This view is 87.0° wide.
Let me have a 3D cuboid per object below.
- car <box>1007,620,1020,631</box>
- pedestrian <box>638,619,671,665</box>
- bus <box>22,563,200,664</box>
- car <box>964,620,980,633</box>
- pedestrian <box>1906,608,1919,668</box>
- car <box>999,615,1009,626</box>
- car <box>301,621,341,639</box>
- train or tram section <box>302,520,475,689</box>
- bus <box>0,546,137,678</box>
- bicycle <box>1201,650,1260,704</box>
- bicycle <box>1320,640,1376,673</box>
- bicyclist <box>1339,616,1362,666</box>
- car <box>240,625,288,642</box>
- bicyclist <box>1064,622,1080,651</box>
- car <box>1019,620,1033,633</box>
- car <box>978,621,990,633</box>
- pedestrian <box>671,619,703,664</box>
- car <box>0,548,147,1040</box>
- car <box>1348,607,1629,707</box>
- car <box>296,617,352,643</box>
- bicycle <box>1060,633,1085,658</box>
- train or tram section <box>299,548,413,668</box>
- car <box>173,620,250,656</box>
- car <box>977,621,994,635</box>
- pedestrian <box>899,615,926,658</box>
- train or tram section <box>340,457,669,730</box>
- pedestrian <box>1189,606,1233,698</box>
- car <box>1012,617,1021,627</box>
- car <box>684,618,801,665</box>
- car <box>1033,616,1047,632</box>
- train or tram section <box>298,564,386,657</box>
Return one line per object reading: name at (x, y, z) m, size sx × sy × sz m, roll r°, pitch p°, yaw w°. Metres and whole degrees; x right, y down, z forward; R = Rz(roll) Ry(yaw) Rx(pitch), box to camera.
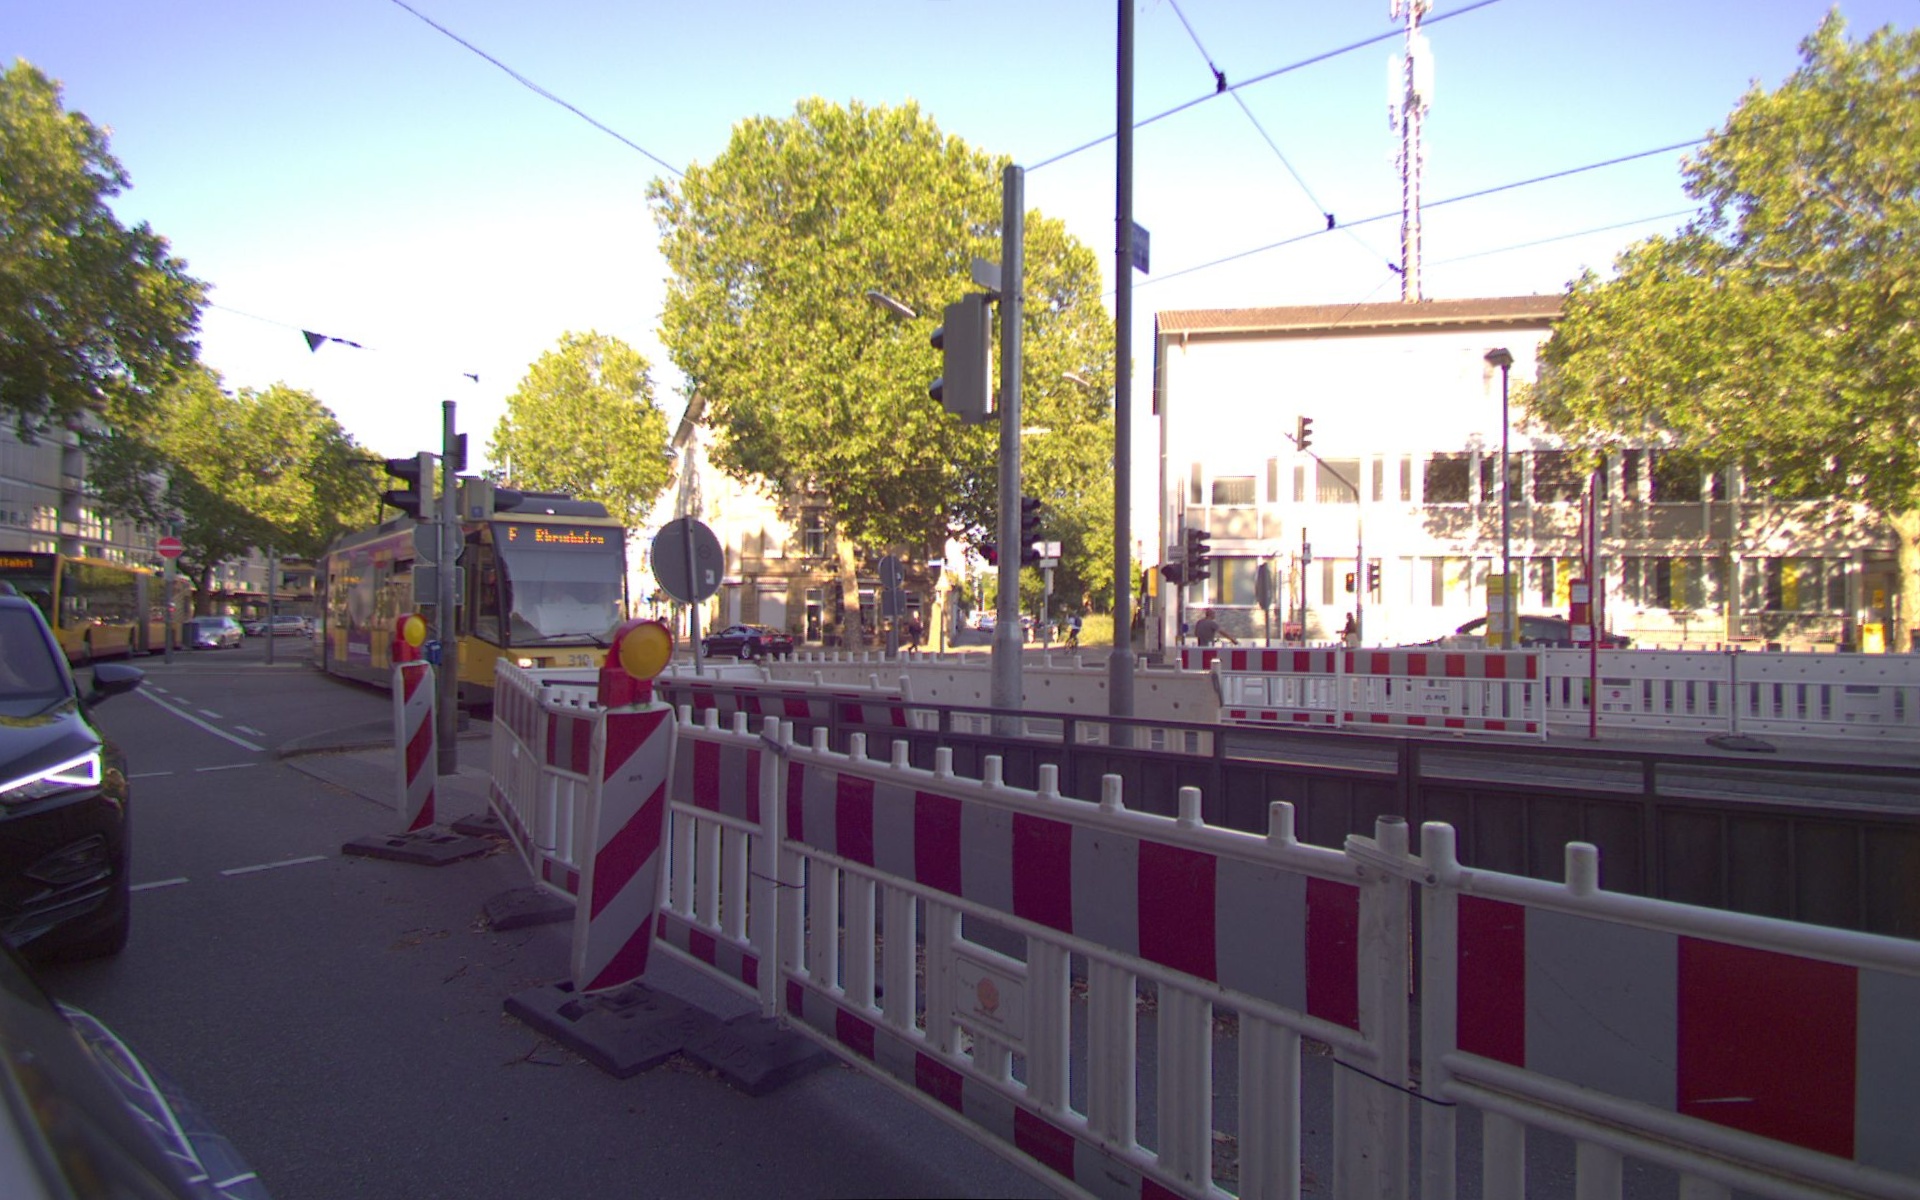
car at (7.088, 3.365, 134.319) m, size 1.705 × 1.505 × 3.994 m, roll 0°, pitch -2°, yaw 4°
pedestrian at (-10.372, 1.418, 34.338) m, size 0.794 × 1.520 × 0.794 m, roll 0°, pitch -1°, yaw 12°
bus at (-29.922, 0.532, 36.198) m, size 2.707 × 3.127 × 9.527 m, roll 1°, pitch -2°, yaw -27°
car at (1.437, 3.130, 119.623) m, size 1.705 × 1.505 × 3.994 m, roll 0°, pitch -1°, yaw 4°
pedestrian at (28.440, 1.101, 29.547) m, size 0.875 × 1.742 × 0.806 m, roll 0°, pitch -1°, yaw 9°
car at (8.516, 3.950, 194.802) m, size 1.828 × 2.031 × 3.994 m, roll 0°, pitch -1°, yaw 4°
car at (-52.321, 2.454, 82.880) m, size 1.201 × 1.484 × 2.592 m, roll 0°, pitch -1°, yaw 43°
train or tram section at (-15.021, 0.175, 26.090) m, size 2.797 × 3.514 × 10.363 m, roll 1°, pitch -1°, yaw -35°
bus at (-25.294, 0.357, 27.888) m, size 2.708 × 3.127 × 9.524 m, roll 1°, pitch -2°, yaw -31°
bicycle at (5.218, 1.458, 19.453) m, size 1.558 × 0.973 × 0.322 m, roll 1°, pitch -2°, yaw -44°
bicycle at (11.225, 1.626, 29.320) m, size 1.466 × 0.902 × 0.456 m, roll -1°, pitch -2°, yaw 45°
bicyclist at (11.294, 1.180, 29.262) m, size 0.465 × 1.407 × 0.456 m, roll -1°, pitch -2°, yaw 44°
car at (-50.888, 2.439, 74.014) m, size 1.198 × 1.226 × 2.599 m, roll 0°, pitch -1°, yaw 34°
bicyclist at (4.557, 1.472, 41.117) m, size 0.405 × 1.182 × 0.665 m, roll 1°, pitch -2°, yaw -19°
car at (7.875, 3.087, 120.229) m, size 1.705 × 1.505 × 3.994 m, roll 0°, pitch -1°, yaw 4°
car at (3.983, 4.552, 170.487) m, size 1.828 × 2.031 × 3.994 m, roll 0°, pitch -1°, yaw 4°
pedestrian at (-9.413, 1.433, 34.883) m, size 0.793 × 1.520 × 0.795 m, roll 0°, pitch -1°, yaw 9°
car at (-5.158, 0.692, 4.582) m, size 4.300 × 1.670 × 1.823 m, roll -1°, pitch -1°, yaw 45°
car at (10.031, 1.000, 19.352) m, size 4.576 × 1.679 × 1.878 m, roll -1°, pitch 0°, yaw 35°
car at (-40.179, 1.857, 64.050) m, size 1.923 × 1.562 × 4.771 m, roll 1°, pitch -1°, yaw -19°
bicycle at (4.562, 1.837, 41.106) m, size 0.405 × 0.974 × 1.466 m, roll 1°, pitch -1°, yaw -19°
train or tram section at (-20.883, 0.316, 34.670) m, size 2.832 × 3.514 × 10.366 m, roll 1°, pitch -1°, yaw -34°
car at (-34.074, 1.682, 46.175) m, size 1.880 × 1.486 × 4.433 m, roll 1°, pitch -1°, yaw -24°
car at (2.898, 3.142, 115.078) m, size 1.705 × 1.505 × 3.994 m, roll 0°, pitch -1°, yaw 4°
pedestrian at (-1.971, 1.524, 42.052) m, size 0.801 × 1.769 × 0.787 m, roll -1°, pitch -2°, yaw 41°
train or tram section at (-8.593, -0.004, 17.960) m, size 2.780 × 3.514 × 10.357 m, roll 1°, pitch -1°, yaw -39°
pedestrian at (4.923, 1.007, 19.841) m, size 0.588 × 1.772 × 0.597 m, roll 1°, pitch -2°, yaw -43°
car at (11.097, 4.289, 199.083) m, size 1.828 × 2.031 × 3.994 m, roll 0°, pitch -1°, yaw 4°
car at (-8.522, 1.575, 39.474) m, size 4.576 × 1.679 × 1.878 m, roll -1°, pitch 0°, yaw 35°
car at (10.642, 3.197, 135.377) m, size 1.828 × 2.160 × 3.994 m, roll 0°, pitch -1°, yaw 4°
train or tram section at (-26.635, 0.477, 43.366) m, size 2.797 × 3.514 × 10.366 m, roll 1°, pitch -1°, yaw -34°
